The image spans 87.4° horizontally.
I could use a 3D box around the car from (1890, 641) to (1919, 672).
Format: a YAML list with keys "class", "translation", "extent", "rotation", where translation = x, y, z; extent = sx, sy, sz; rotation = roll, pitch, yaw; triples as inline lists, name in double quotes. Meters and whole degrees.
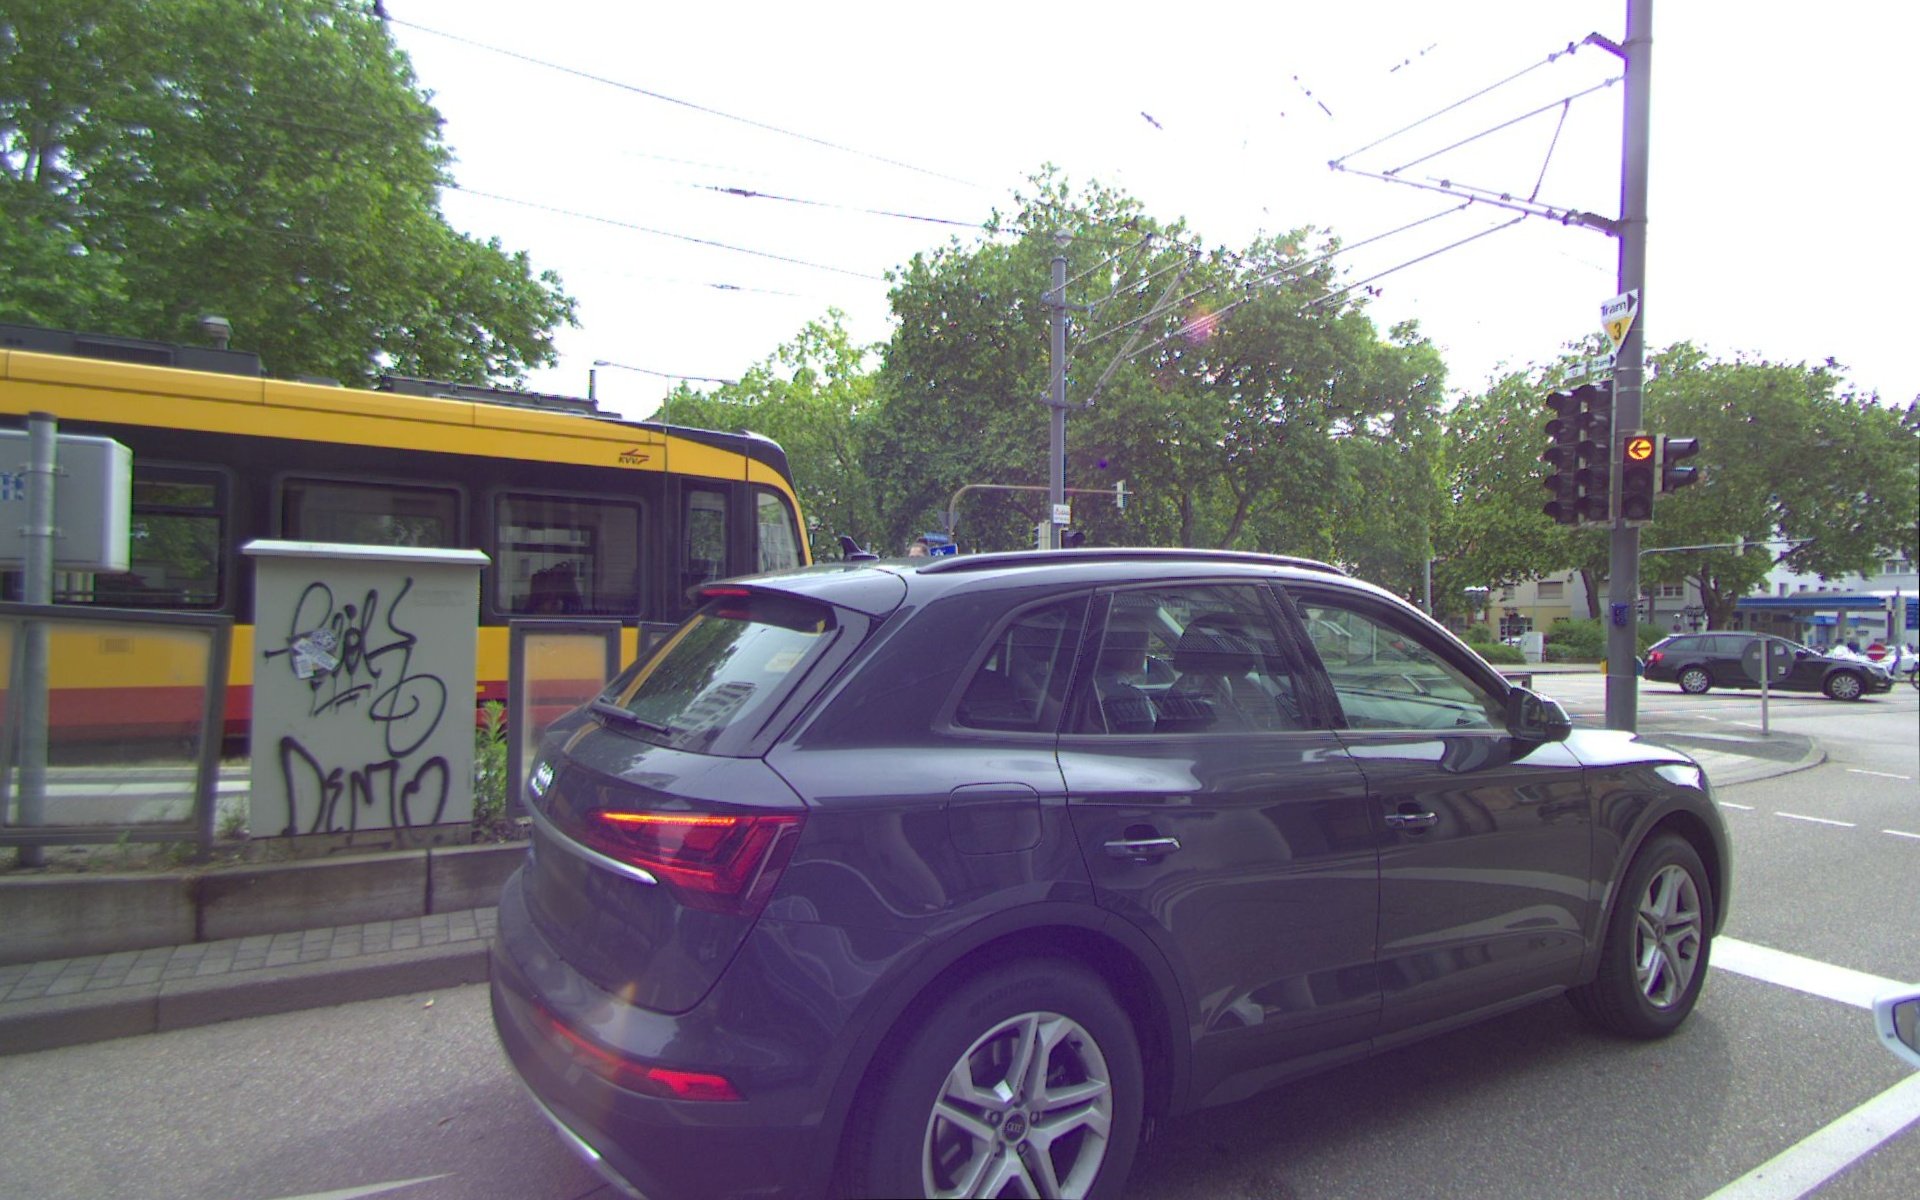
- class: "car"
  translation: [52.851, 3.121, 54.948]
  extent: [3.792, 1.578, 1.885]
  rotation: [2, 0, -30]

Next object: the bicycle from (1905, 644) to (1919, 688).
- class: "bicycle"
  translation: [26.539, 1.806, 26.744]
  extent: [1.873, 1.158, 0.627]
  rotation: [2, 0, 32]

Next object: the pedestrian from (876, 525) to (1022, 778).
- class: "pedestrian"
  translation: [-0.090, 0.350, 7.175]
  extent: [0.722, 1.683, 0.750]
  rotation: [2, 0, -30]

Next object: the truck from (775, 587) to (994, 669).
- class: "truck"
  translation: [-3.324, 1.009, 41.082]
  extent: [10.029, 2.980, 2.624]
  rotation: [1, 0, 41]

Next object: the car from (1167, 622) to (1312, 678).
- class: "car"
  translation: [8.664, 1.500, 31.252]
  extent: [3.927, 1.489, 1.835]
  rotation: [2, 0, 36]

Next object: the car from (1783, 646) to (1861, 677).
- class: "car"
  translation: [41.577, 2.964, 48.428]
  extent: [3.954, 1.343, 1.626]
  rotation: [2, 0, -31]

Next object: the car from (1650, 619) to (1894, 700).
- class: "car"
  translation: [18.789, 1.322, 23.529]
  extent: [4.268, 1.607, 1.806]
  rotation: [2, 0, 35]

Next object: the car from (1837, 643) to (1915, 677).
- class: "car"
  translation: [46.921, 3.067, 51.445]
  extent: [3.792, 1.578, 1.885]
  rotation: [2, 0, -30]

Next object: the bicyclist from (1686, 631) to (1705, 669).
- class: "bicyclist"
  translation: [35.947, 2.453, 49.122]
  extent: [0.461, 1.808, 0.534]
  rotation: [2, 0, -10]

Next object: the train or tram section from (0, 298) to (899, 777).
- class: "train or tram section"
  translation: [-8.237, -0.494, 8.850]
  extent: [15.665, 3.636, 3.045]
  rotation: [2, 0, -31]

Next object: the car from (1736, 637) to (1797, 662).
- class: "car"
  translation: [54.728, 3.335, 68.158]
  extent: [3.954, 1.550, 1.984]
  rotation: [2, 0, -30]

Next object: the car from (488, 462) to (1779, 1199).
- class: "car"
  translation: [0.816, 0.655, 3.539]
  extent: [4.308, 1.622, 1.870]
  rotation: [2, -1, -31]

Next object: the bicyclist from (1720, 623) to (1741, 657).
- class: "bicyclist"
  translation: [37.184, 1.937, 48.451]
  extent: [0.611, 1.588, 0.585]
  rotation: [2, 0, -30]

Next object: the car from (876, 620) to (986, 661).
- class: "car"
  translation: [-1.290, 1.709, 43.104]
  extent: [4.660, 1.530, 1.830]
  rotation: [2, 0, 39]
